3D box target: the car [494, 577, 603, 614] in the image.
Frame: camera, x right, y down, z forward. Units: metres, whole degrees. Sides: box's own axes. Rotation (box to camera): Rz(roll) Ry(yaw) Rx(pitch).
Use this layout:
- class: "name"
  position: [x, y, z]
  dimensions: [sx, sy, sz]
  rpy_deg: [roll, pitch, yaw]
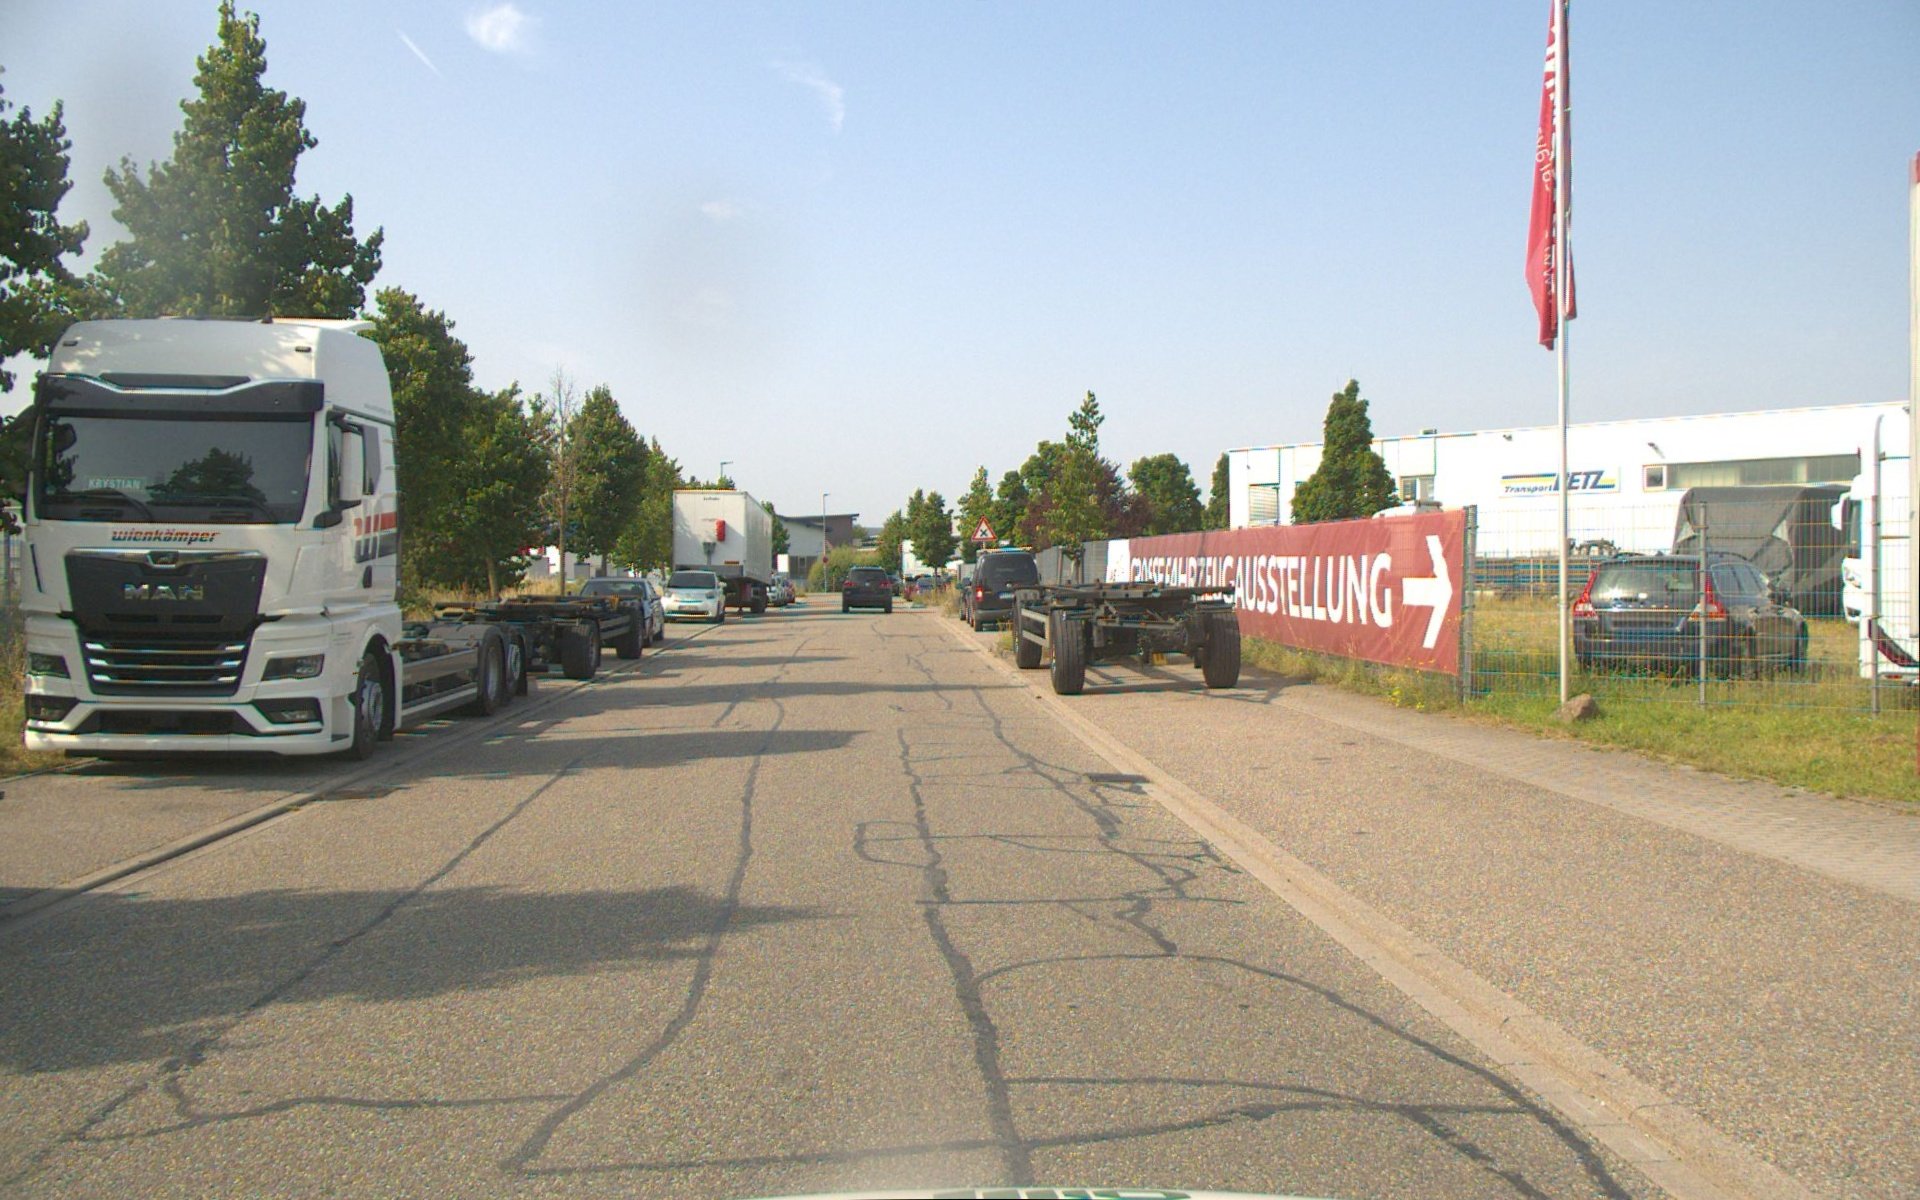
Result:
- class: "car"
  position: [-16.492, -0.192, 66.361]
  dimensions: [3.903, 1.363, 1.618]
  rpy_deg: [-1, 1, 3]

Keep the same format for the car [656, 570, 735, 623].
- class: "car"
  position: [-7.760, -0.128, 48.843]
  dimensions: [1.774, 1.452, 3.999]
  rpy_deg: [-1, 1, -2]

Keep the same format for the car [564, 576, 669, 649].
- class: "car"
  position: [-7.369, 0.222, 35.812]
  dimensions: [1.849, 1.461, 3.995]
  rpy_deg: [-1, 1, -7]

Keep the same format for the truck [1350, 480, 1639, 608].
- class: "truck"
  position: [18.030, -1.840, 56.322]
  dimensions: [9.141, 4.041, 2.446]
  rpy_deg: [0, 2, 40]

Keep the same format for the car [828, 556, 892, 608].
- class: "car"
  position: [-3.822, -0.702, 62.829]
  dimensions: [1.957, 1.836, 3.991]
  rpy_deg: [2, 1, -10]

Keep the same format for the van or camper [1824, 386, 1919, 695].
- class: "van or camper"
  position: [11.156, -0.653, 17.278]
  dimensions: [2.445, 2.799, 6.592]
  rpy_deg: [0, 2, 40]

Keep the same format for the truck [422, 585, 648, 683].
- class: "truck"
  position: [-6.897, 0.471, 27.742]
  dimensions: [2.474, 1.287, 6.523]
  rpy_deg: [-1, 1, -4]

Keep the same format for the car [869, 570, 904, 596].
- class: "car"
  position: [-5.320, -1.247, 119.732]
  dimensions: [1.951, 1.802, 4.003]
  rpy_deg: [-1, 1, 6]

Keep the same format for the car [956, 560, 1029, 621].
- class: "car"
  position: [0.867, -0.299, 46.472]
  dimensions: [1.782, 1.474, 3.800]
  rpy_deg: [-4, 2, -1]

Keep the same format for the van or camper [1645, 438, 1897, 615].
- class: "van or camper"
  position: [16.149, -1.436, 32.681]
  dimensions: [2.625, 3.137, 6.751]
  rpy_deg: [1, 2, 43]

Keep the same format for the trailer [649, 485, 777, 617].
- class: "trailer"
  position: [-9.136, -1.796, 62.996]
  dimensions: [3.336, 4.415, 13.913]
  rpy_deg: [-1, 1, -3]

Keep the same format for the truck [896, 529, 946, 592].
- class: "truck"
  position: [-2.440, -2.461, 103.081]
  dimensions: [2.829, 3.648, 8.060]
  rpy_deg: [-2, 1, -1]

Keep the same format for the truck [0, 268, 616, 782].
- class: "truck"
  position: [-6.477, -0.700, 19.383]
  dimensions: [2.573, 3.997, 12.915]
  rpy_deg: [0, 1, -2]

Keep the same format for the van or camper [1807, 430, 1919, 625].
- class: "van or camper"
  position: [17.854, -1.312, 29.899]
  dimensions: [2.757, 3.137, 7.926]
  rpy_deg: [0, 2, 41]

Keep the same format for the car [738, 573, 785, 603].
- class: "car"
  position: [-10.548, -0.661, 88.134]
  dimensions: [1.952, 1.549, 4.001]
  rpy_deg: [-1, 1, 0]

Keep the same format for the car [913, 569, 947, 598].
- class: "car"
  position: [-1.691, -0.934, 92.216]
  dimensions: [1.782, 1.474, 3.800]
  rpy_deg: [-2, 2, -1]

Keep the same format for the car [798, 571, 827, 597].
- class: "car"
  position: [-10.607, -1.153, 119.255]
  dimensions: [1.954, 1.802, 3.998]
  rpy_deg: [-1, 1, -3]

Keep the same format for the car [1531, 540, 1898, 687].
- class: "car"
  position: [8.839, 0.097, 19.325]
  dimensions: [3.951, 1.502, 2.148]
  rpy_deg: [-2, 1, -33]

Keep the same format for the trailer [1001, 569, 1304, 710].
- class: "trailer"
  position: [2.262, 0.343, 23.088]
  dimensions: [2.571, 1.412, 9.449]
  rpy_deg: [-3, 1, -3]

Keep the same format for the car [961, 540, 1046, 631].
- class: "car"
  position: [1.032, -0.402, 40.948]
  dimensions: [1.782, 2.012, 3.999]
  rpy_deg: [-4, 2, -1]

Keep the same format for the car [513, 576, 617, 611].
- class: "car"
  position: [-16.435, -0.274, 68.933]
  dimensions: [3.903, 1.363, 1.618]
  rpy_deg: [-1, 1, 3]

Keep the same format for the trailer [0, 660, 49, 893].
- class: "trailer"
  position: [-5.867, 0.934, 5.935]
  dimensions: [2.523, 1.119, 5.198]
  rpy_deg: [-1, 1, -3]
